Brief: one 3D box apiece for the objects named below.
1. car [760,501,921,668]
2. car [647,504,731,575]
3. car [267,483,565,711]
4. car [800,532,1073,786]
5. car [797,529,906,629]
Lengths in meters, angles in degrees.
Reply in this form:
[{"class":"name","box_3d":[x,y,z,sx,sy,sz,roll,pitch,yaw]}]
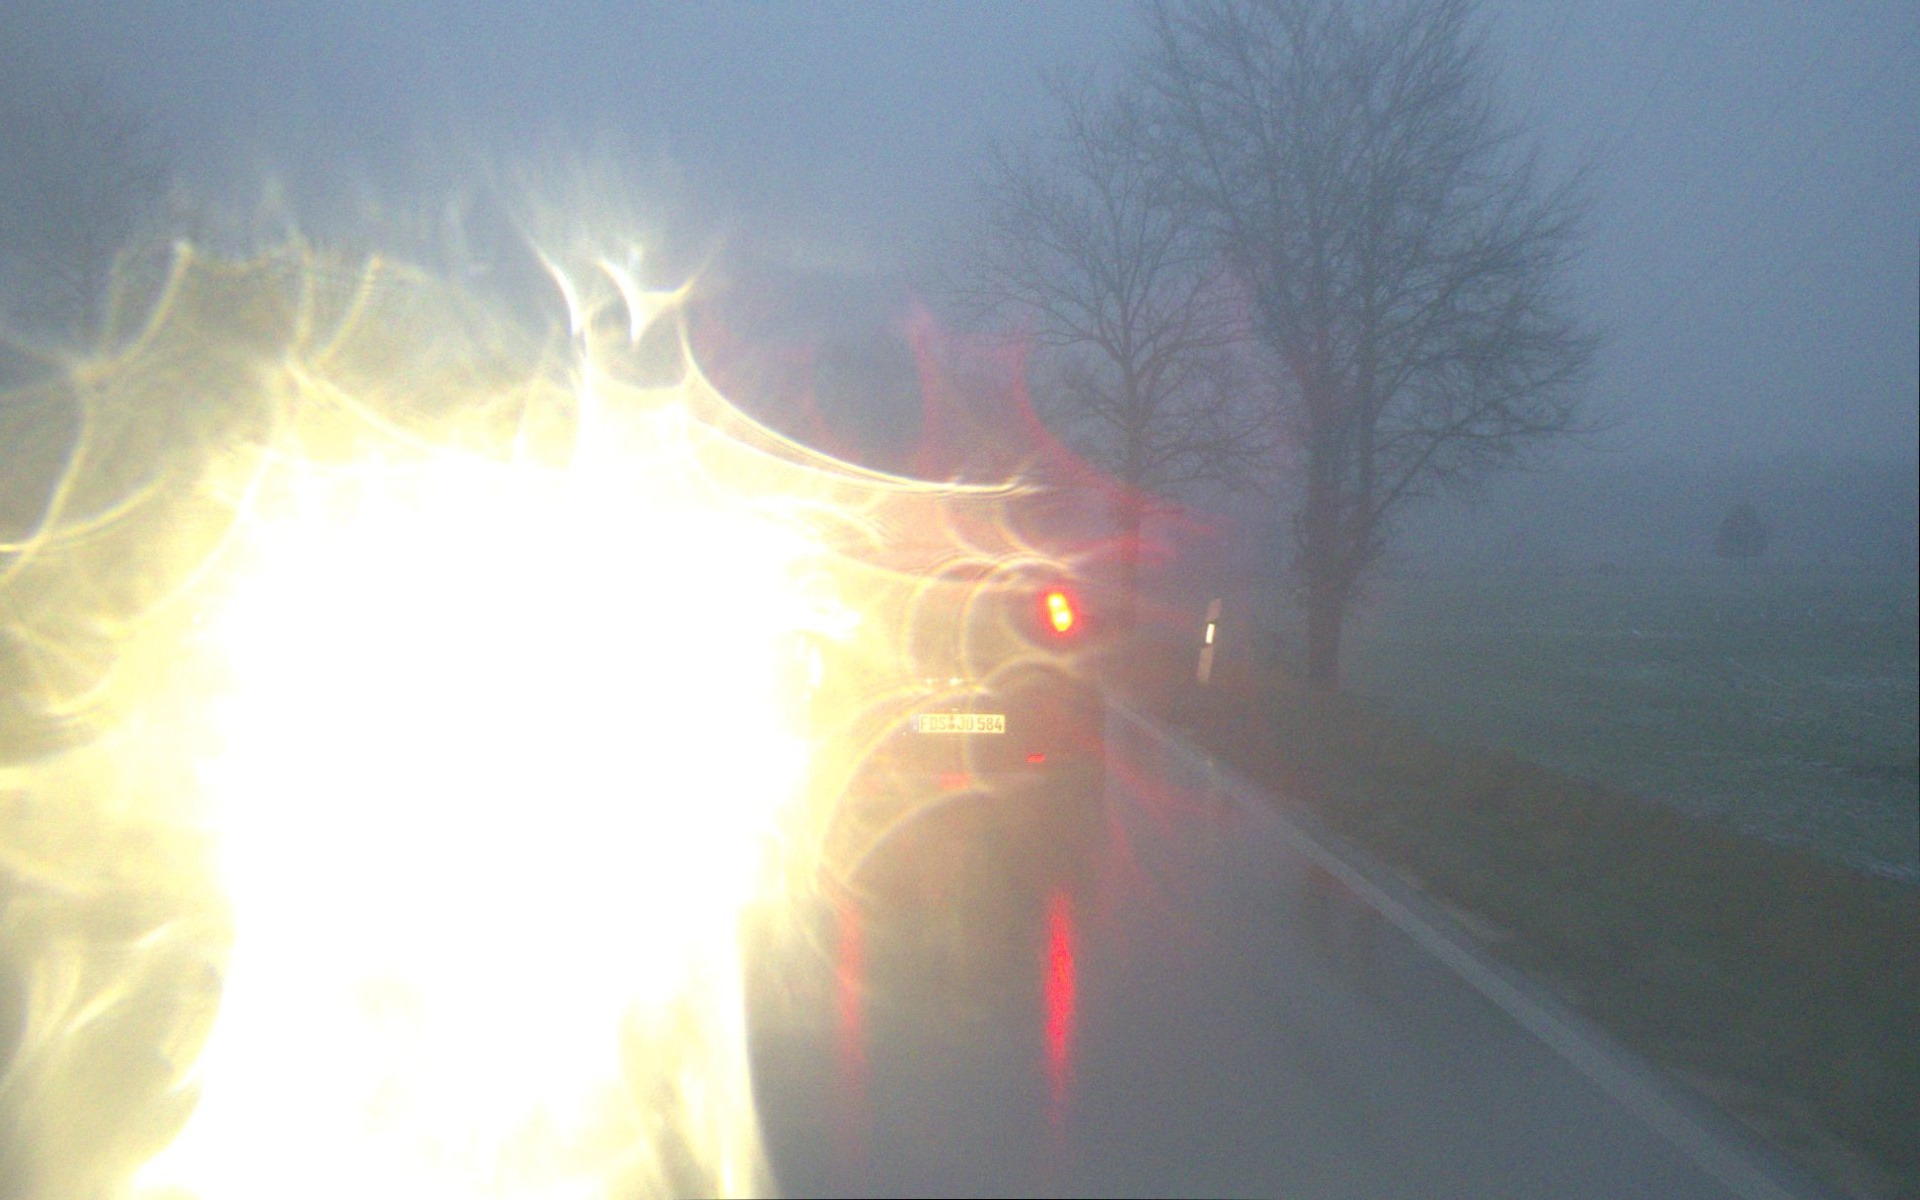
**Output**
[{"class":"car","box_3d":[-1.467,-0.219,43.612,1.852,2.007,4.000,1,1,0]},{"class":"car","box_3d":[-6.731,-1.530,85.858,1.863,1.694,4.468,0,1,-2]},{"class":"car","box_3d":[-4.424,-0.074,28.541,1.785,1.745,4.258,0,1,0]},{"class":"car","box_3d":[-0.119,0.302,20.672,1.500,1.393,3.200,1,1,0]},{"class":"car","box_3d":[-1.939,-0.407,61.619,1.863,1.694,4.468,0,1,-2]}]
